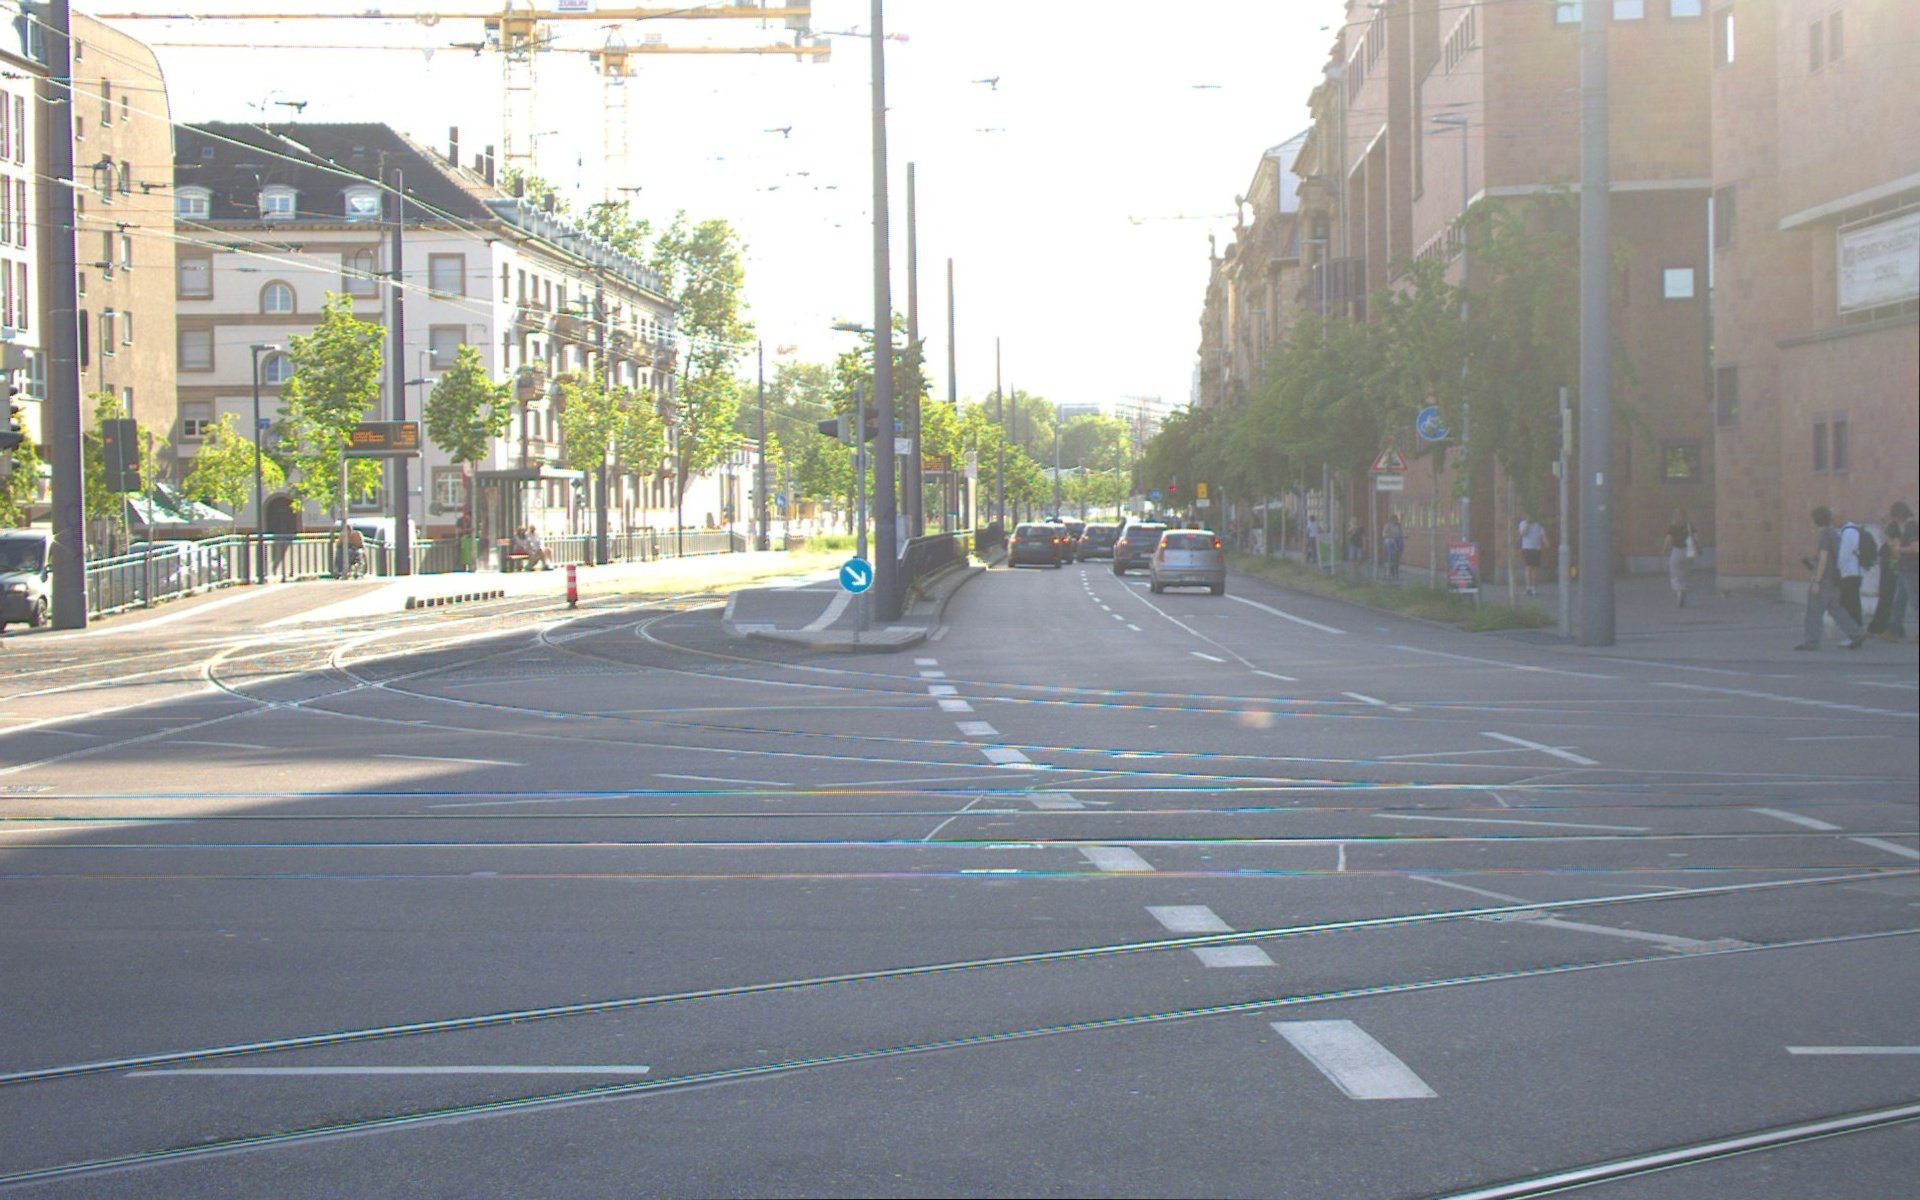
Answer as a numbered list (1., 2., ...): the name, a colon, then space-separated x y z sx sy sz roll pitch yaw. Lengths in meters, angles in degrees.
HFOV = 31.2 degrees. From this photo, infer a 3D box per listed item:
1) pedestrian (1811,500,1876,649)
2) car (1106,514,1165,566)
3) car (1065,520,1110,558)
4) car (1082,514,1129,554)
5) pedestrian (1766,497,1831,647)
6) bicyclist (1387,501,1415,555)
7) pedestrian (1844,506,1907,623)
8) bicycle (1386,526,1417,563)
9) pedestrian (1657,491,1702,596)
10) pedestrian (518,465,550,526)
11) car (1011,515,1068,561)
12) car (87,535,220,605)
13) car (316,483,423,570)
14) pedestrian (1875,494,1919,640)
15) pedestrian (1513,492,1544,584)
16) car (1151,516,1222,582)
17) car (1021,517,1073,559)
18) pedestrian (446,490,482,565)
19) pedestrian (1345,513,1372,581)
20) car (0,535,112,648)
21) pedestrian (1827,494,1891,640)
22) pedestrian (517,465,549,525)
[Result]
1. pedestrian: 10.762 -0.316 41.886 0.571 1.780 0.549 -2 1 -5
2. car: 5.234 -1.803 102.502 1.671 1.448 3.697 -2 1 3
3. car: 5.214 -2.503 140.209 1.721 1.448 3.697 -2 1 3
4. car: 5.523 -2.502 130.085 1.721 1.448 3.697 -2 1 3
5. pedestrian: 10.139 -0.344 41.581 0.571 1.780 0.549 -2 1 -5
6. bicyclist: 11.023 -1.799 85.936 0.646 1.334 0.652 -1 1 4
7. pedestrian: 11.659 -0.456 43.782 0.547 1.472 0.573 -1 2 -15
8. bicycle: 11.019 -1.396 85.807 0.648 0.901 2.345 -1 2 4
9. pedestrian: 12.331 -0.971 58.897 0.640 1.780 0.688 -2 1 6
10. pedestrian: -11.745 -2.893 94.855 0.860 1.664 0.737 0 2 -7
11. car: 2.649 -2.056 113.755 1.721 1.448 3.697 -2 1 3
12. car: -18.264 -0.698 78.064 1.839 1.443 4.298 -3 1 2
13. car: -21.560 -2.744 125.866 2.377 2.988 8.471 -1 2 0
14. pedestrian: 11.694 -0.410 42.464 0.571 1.780 0.549 -2 1 -5
15. pedestrian: 11.187 -1.223 67.661 0.547 1.779 0.573 -1 4 6
16. car: 5.221 -1.200 79.186 1.560 1.451 3.431 -1 2 4
17. car: 3.143 -2.263 124.073 1.721 1.448 3.697 -2 1 3
18. pedestrian: -12.507 -1.830 86.671 0.860 1.880 0.737 0 2 -7
19. pedestrian: 10.613 -1.415 91.653 0.640 1.780 0.688 -2 1 4
20. car: -16.098 -0.159 59.180 1.839 1.829 4.107 -3 1 1
21. pedestrian: 11.170 -0.415 42.713 0.571 1.780 0.549 -2 1 -5
22. pedestrian: -11.880 -2.916 95.625 0.860 1.664 0.785 0 2 -7
